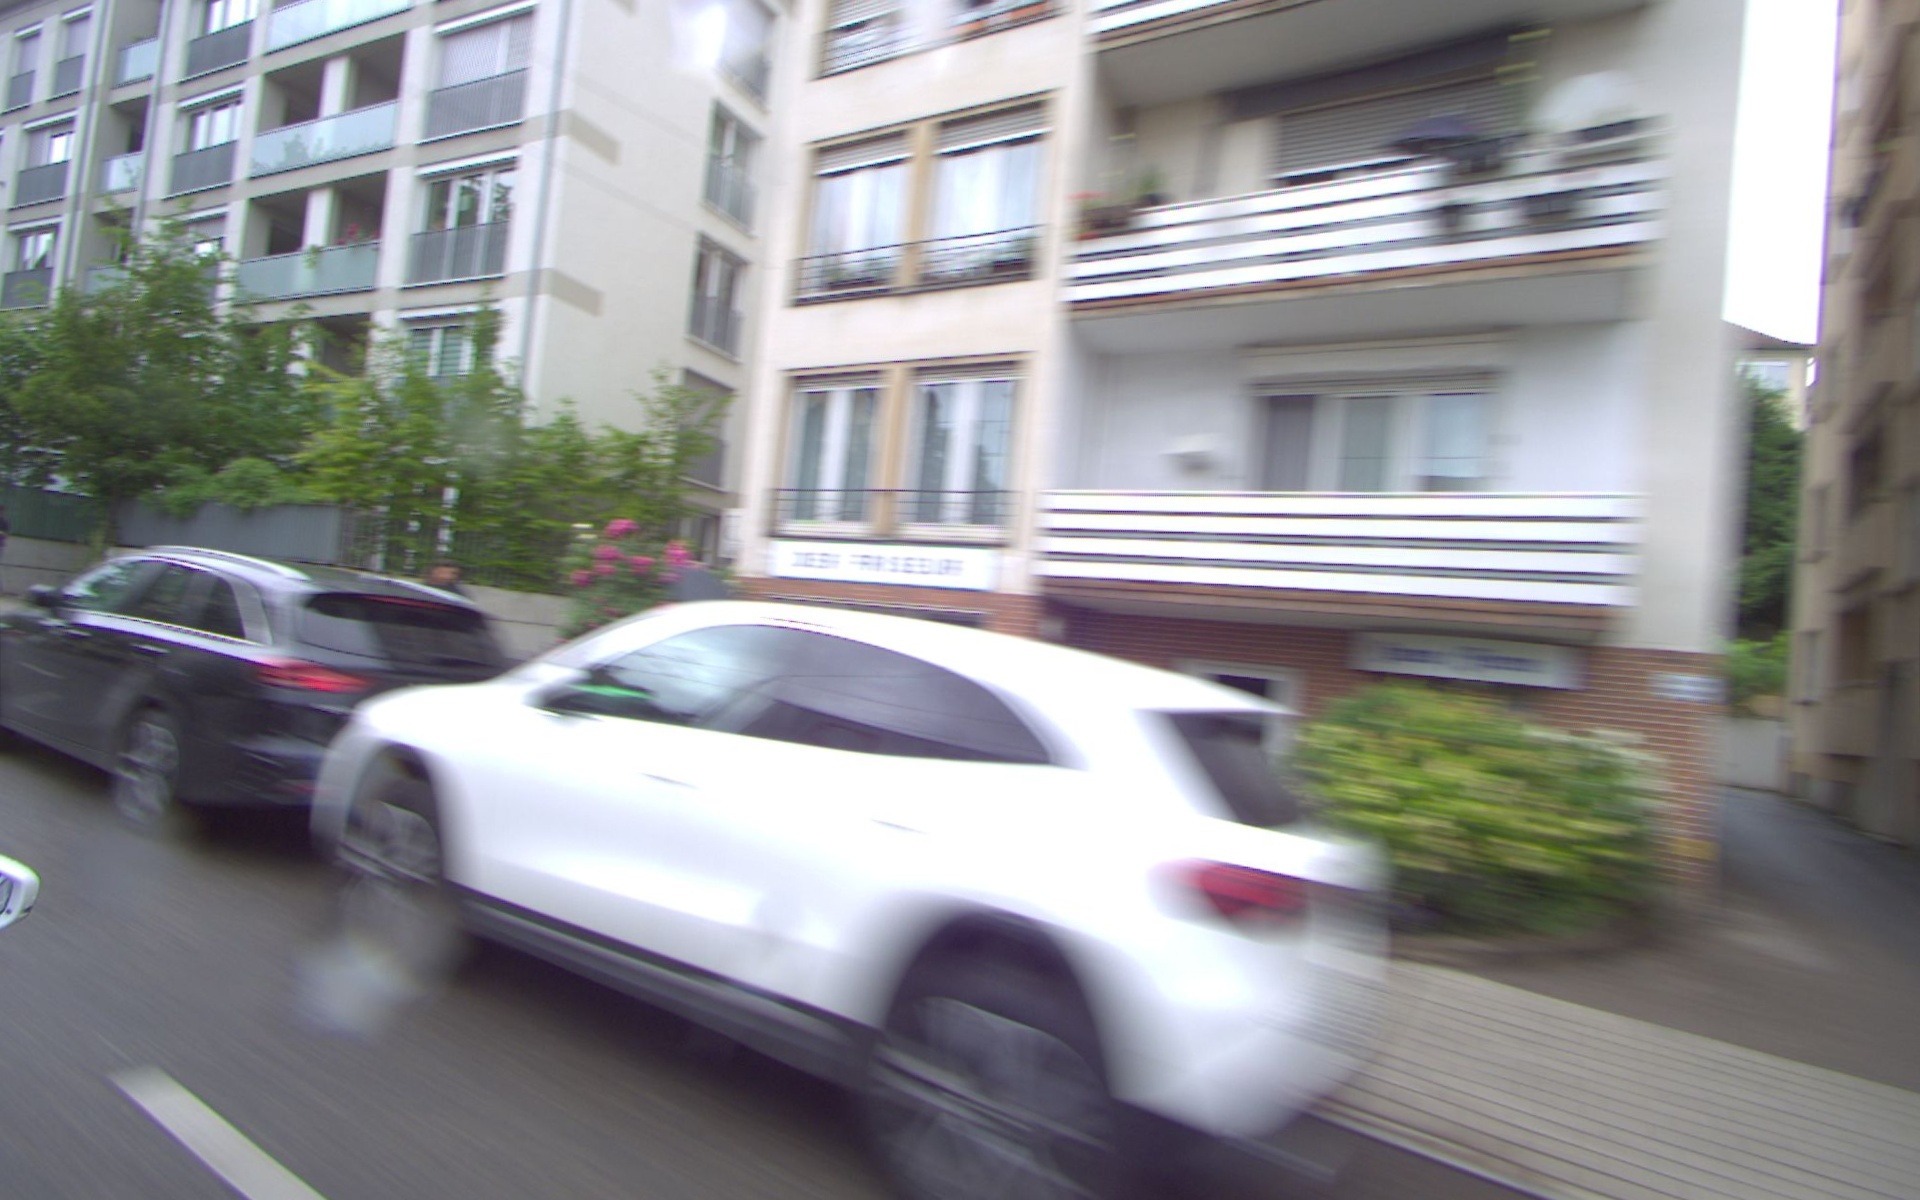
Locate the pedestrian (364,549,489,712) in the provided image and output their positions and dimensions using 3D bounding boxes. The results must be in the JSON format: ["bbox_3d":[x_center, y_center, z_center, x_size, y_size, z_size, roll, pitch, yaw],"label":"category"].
[{"bbox_3d":[-5.568,0.311,10.502,0.913,1.562,0.570,7,1,23],"label":"pedestrian"}]

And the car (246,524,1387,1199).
[{"bbox_3d":[-0.699,0.809,4.096,4.176,1.589,1.844,7,-4,30],"label":"car"}]

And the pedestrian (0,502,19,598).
[{"bbox_3d":[-16.259,-0.867,16.772,0.640,1.562,0.570,7,1,31],"label":"pedestrian"}]

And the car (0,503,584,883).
[{"bbox_3d":[-4.700,0.409,6.441,4.494,1.527,1.708,7,-5,31],"label":"car"}]
